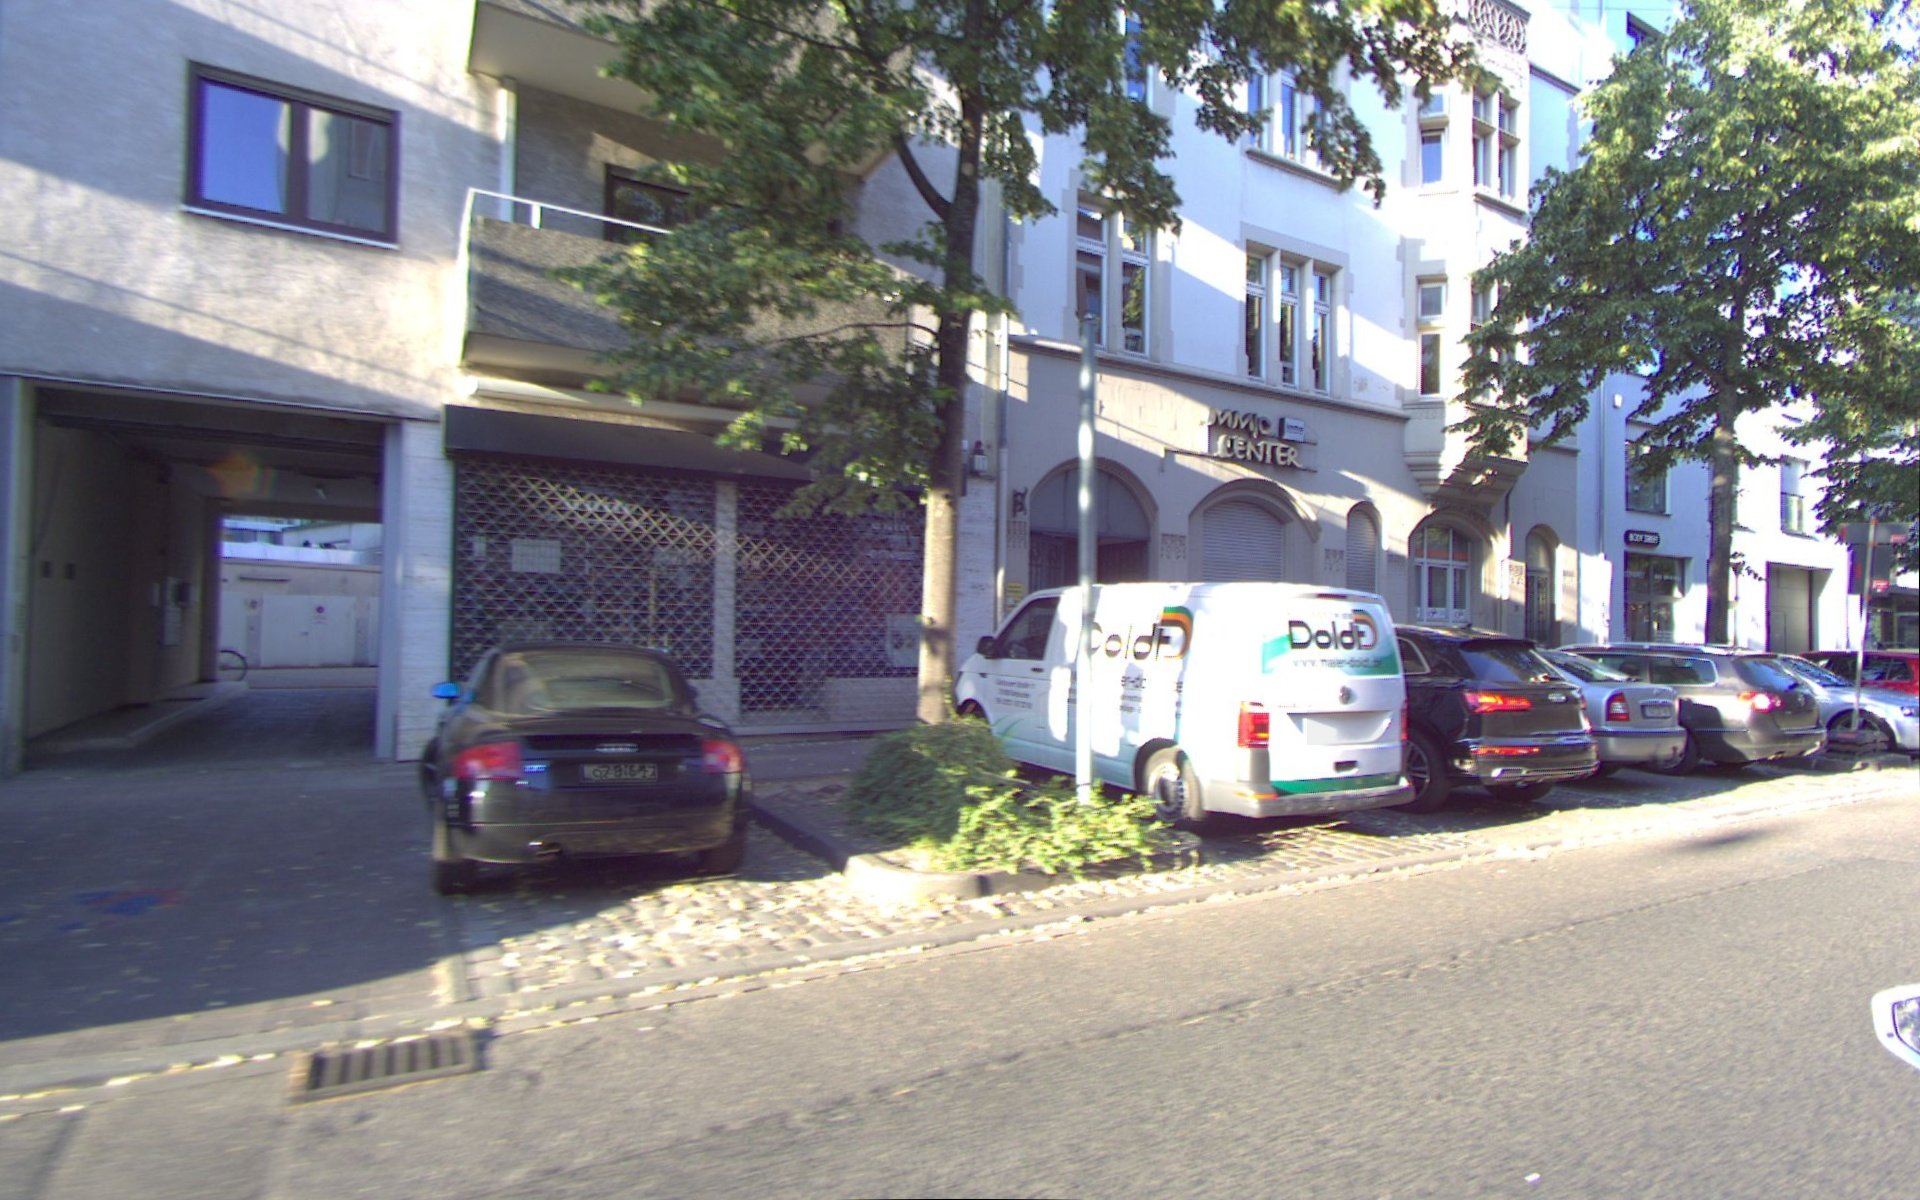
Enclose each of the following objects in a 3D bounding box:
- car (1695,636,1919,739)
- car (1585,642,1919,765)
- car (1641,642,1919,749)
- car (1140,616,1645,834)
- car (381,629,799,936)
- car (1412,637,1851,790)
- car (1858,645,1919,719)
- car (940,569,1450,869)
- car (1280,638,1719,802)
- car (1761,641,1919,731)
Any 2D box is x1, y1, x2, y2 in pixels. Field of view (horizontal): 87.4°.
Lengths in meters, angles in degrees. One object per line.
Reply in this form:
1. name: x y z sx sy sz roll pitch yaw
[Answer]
1. car: 16.333 1.538 18.294 1.837 1.660 4.424 2 -2 -29
2. car: 12.283 1.450 15.282 1.787 1.504 4.424 2 -2 -29
3. car: 14.142 1.506 16.627 1.837 1.477 4.424 2 -2 -29
4. car: 4.119 1.049 10.429 2.035 1.720 4.552 2 -2 -29
5. car: -2.670 0.968 6.967 2.017 1.410 3.778 3 -2 -26
6. car: 8.379 1.300 13.018 1.822 1.526 4.424 2 -2 -29
7. car: 22.403 1.826 21.484 1.896 1.588 4.424 2 -2 -29
8. car: 1.770 0.849 9.159 1.967 1.987 4.551 2 -2 -29
9. car: 6.149 1.254 12.057 1.758 1.486 4.424 2 -2 -29
10. car: 18.358 1.643 19.181 1.896 1.588 4.424 2 -2 -29
